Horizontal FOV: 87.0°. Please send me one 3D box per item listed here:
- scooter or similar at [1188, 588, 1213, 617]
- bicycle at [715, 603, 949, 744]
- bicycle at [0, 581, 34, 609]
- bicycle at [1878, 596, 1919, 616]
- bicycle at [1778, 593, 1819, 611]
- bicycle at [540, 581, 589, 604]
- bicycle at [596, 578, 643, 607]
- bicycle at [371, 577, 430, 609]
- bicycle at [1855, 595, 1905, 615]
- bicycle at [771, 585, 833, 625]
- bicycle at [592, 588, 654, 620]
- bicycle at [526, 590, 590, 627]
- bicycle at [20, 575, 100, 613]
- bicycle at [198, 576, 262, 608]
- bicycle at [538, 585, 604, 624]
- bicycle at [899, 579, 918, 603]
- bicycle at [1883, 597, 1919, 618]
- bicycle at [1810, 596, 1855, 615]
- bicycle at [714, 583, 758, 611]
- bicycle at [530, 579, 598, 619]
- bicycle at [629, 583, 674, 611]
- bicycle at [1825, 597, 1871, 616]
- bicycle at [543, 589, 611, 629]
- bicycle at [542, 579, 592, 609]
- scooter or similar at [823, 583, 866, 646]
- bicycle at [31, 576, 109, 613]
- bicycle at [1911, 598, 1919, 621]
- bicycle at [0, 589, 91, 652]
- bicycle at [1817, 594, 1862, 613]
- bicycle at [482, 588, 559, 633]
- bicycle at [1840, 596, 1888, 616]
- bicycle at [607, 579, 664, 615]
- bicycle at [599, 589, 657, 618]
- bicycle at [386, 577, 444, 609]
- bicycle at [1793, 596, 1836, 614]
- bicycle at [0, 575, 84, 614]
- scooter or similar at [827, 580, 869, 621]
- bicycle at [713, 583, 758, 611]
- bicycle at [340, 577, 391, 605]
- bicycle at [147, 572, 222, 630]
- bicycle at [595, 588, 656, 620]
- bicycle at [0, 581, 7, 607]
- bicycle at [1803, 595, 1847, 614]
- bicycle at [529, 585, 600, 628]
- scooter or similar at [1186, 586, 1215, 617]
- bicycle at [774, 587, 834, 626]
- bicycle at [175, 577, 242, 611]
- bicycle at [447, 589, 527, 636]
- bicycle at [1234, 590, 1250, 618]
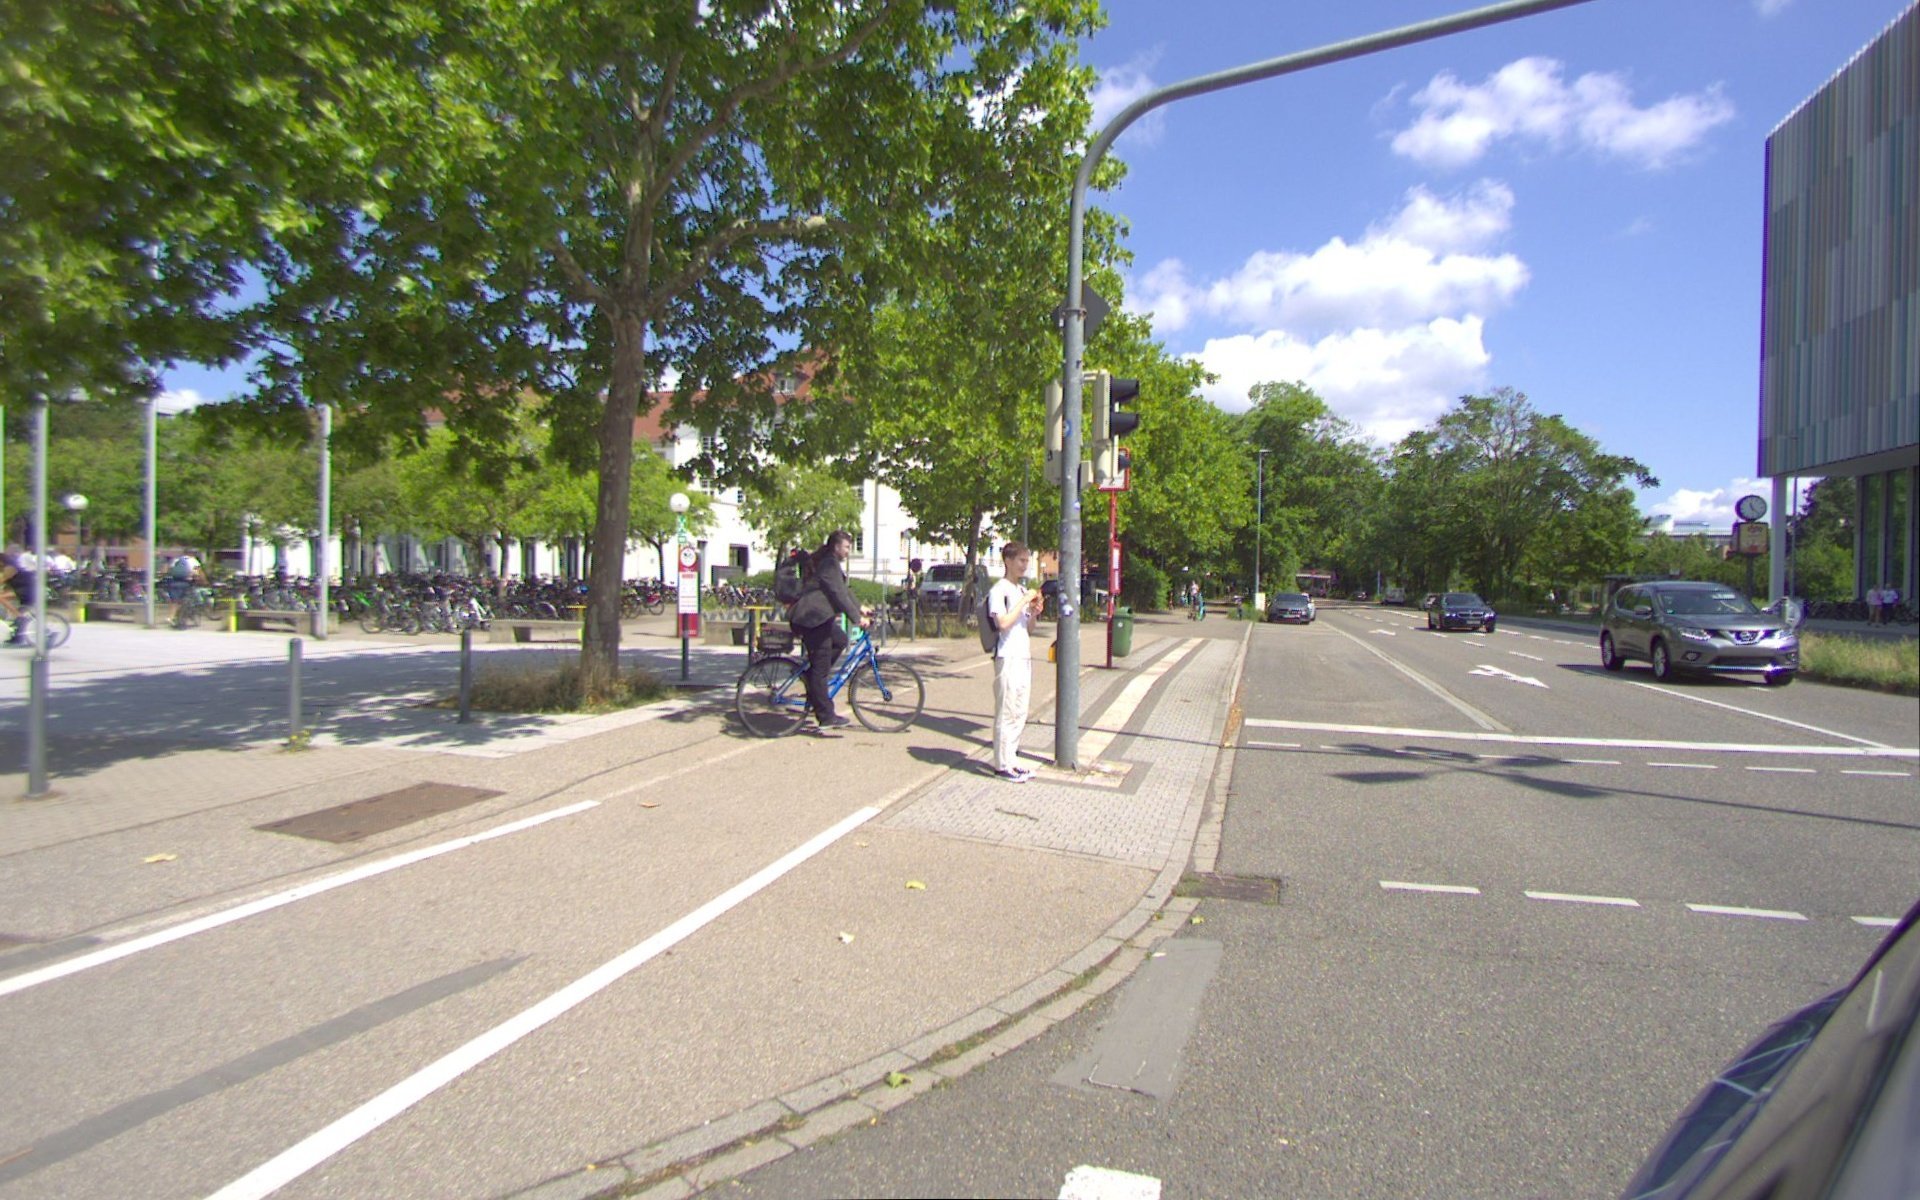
[{"bbox_3d":[9.902,0.104,41.639,0.525,1.184,1.557,2,1,30],"label":"scooter or similar"},{"bbox_3d":[-1.123,0.615,9.006,1.853,1.085,0.819,1,3,-32],"label":"bicycle"},{"bbox_3d":[-28.833,-0.148,30.305,0.511,0.802,1.766,1,1,4],"label":"bicycle"},{"bbox_3d":[45.311,0.282,48.606,1.761,0.967,0.431,-1,0,18],"label":"bicycle"},{"bbox_3d":[47.476,0.111,57.302,1.761,0.967,0.431,-1,0,18],"label":"bicycle"},{"bbox_3d":[-15.722,-0.311,40.300,1.731,0.880,0.605,-1,0,-14],"label":"bicycle"},{"bbox_3d":[-13.683,-0.293,40.747,1.731,1.113,0.605,-1,0,-14],"label":"bicycle"},{"bbox_3d":[-19.945,-0.249,36.105,1.731,1.113,0.605,-1,0,-14],"label":"bicycle"},{"bbox_3d":[45.469,0.259,50.029,1.761,0.967,0.431,-1,0,18],"label":"bicycle"},{"bbox_3d":[-4.663,0.140,29.873,1.731,1.113,0.605,-1,0,-13],"label":"bicycle"},{"bbox_3d":[-10.223,0.120,30.759,1.730,0.966,0.605,1,0,-13],"label":"bicycle"},{"bbox_3d":[-12.174,0.247,30.702,1.731,1.113,0.605,-1,0,-13],"label":"bicycle"},{"bbox_3d":[-27.308,-0.184,30.723,1.731,1.113,0.605,-1,0,-14],"label":"bicycle"},{"bbox_3d":[-25.881,-0.285,35.885,1.731,1.113,0.605,-1,0,-14],"label":"bicycle"},{"bbox_3d":[-11.432,0.130,29.758,1.730,1.113,0.605,1,0,-13],"label":"bicycle"},{"bbox_3d":[-2.569,-0.463,50.970,0.598,1.152,1.584,2,1,9],"label":"bicycle"},{"bbox_3d":[44.665,0.355,47.631,1.761,0.967,0.431,-1,0,18],"label":"bicycle"},{"bbox_3d":[46.527,0.288,53.968,1.761,0.967,0.431,-1,0,18],"label":"bicycle"},{"bbox_3d":[-9.126,-0.131,41.280,1.731,1.113,0.594,-1,0,-14],"label":"bicycle"},{"bbox_3d":[-11.332,-0.022,29.017,1.730,1.112,0.605,0,1,-13],"label":"bicycle"},{"bbox_3d":[-12.837,-0.114,42.127,1.731,1.113,0.605,-1,0,-14],"label":"bicycle"},{"bbox_3d":[45.906,0.325,52.332,1.761,0.967,0.431,-1,0,18],"label":"bicycle"},{"bbox_3d":[-10.764,0.248,28.481,1.730,1.113,0.605,0,0,-13],"label":"bicycle"},{"bbox_3d":[-15.304,-0.230,39.424,1.731,1.113,0.605,-1,0,-14],"label":"bicycle"},{"bbox_3d":[-2.216,0.267,19.498,0.349,1.180,1.186,-1,0,17],"label":"scooter or similar"},{"bbox_3d":[-27.599,-0.173,31.410,1.731,1.113,0.605,-1,0,-14],"label":"bicycle"},{"bbox_3d":[42.580,0.398,44.261,1.520,0.967,0.373,-1,0,7],"label":"bicycle"},{"bbox_3d":[-17.370,0.367,18.512,2.114,1.092,0.904,-2,2,-35],"label":"bicycle"},{"bbox_3d":[46.362,0.203,53.374,1.761,0.967,0.431,-1,0,18],"label":"bicycle"},{"bbox_3d":[-11.407,0.263,26.288,1.731,1.113,0.605,-1,0,-13],"label":"bicycle"},{"bbox_3d":[45.557,0.322,51.009,1.761,0.967,0.431,-1,0,18],"label":"bicycle"},{"bbox_3d":[-10.564,-0.100,32.993,1.731,1.113,0.605,-1,0,-13],"label":"bicycle"},{"bbox_3d":[-10.593,0.111,32.334,1.730,0.880,0.485,1,0,-13],"label":"bicycle"},{"bbox_3d":[-19.915,-0.262,37.004,1.731,1.113,0.605,-1,0,-14],"label":"bicycle"},{"bbox_3d":[46.953,0.271,55.637,1.761,0.967,0.431,-1,0,18],"label":"bicycle"},{"bbox_3d":[-27.198,-0.166,30.006,1.731,1.113,0.605,-1,0,-14],"label":"bicycle"},{"bbox_3d":[-3.473,0.006,31.443,1.275,1.248,0.281,0,2,3],"label":"scooter or similar"},{"bbox_3d":[-9.022,-0.124,40.668,1.731,1.113,0.517,-1,0,-14],"label":"bicycle"},{"bbox_3d":[-24.788,-0.386,42.236,1.731,1.113,0.605,-1,0,-14],"label":"bicycle"},{"bbox_3d":[-18.567,0.008,24.274,0.649,1.313,1.878,-1,1,-11],"label":"bicycle"},{"bbox_3d":[-10.408,0.113,31.546,1.730,0.966,0.605,1,0,-13],"label":"bicycle"},{"bbox_3d":[-29.921,-0.167,30.561,0.511,0.802,1.766,1,1,4],"label":"bicycle"},{"bbox_3d":[46.703,0.233,54.667,1.761,0.967,0.431,-1,0,18],"label":"bicycle"},{"bbox_3d":[-10.774,0.160,27.631,1.731,1.113,0.605,-1,0,-13],"label":"bicycle"},{"bbox_3d":[10.426,0.071,43.899,1.265,1.262,0.529,2,1,-39],"label":"scooter or similar"},{"bbox_3d":[-4.729,0.194,30.576,1.731,1.113,0.605,-1,0,-13],"label":"bicycle"},{"bbox_3d":[-25.691,-0.210,34.635,1.731,1.113,0.605,-1,0,-14],"label":"bicycle"},{"bbox_3d":[-11.890,0.299,25.478,1.731,1.113,0.605,-1,0,-13],"label":"bicycle"},{"bbox_3d":[12.727,0.152,45.584,0.631,1.205,2.108,2,1,16],"label":"bicycle"}]
